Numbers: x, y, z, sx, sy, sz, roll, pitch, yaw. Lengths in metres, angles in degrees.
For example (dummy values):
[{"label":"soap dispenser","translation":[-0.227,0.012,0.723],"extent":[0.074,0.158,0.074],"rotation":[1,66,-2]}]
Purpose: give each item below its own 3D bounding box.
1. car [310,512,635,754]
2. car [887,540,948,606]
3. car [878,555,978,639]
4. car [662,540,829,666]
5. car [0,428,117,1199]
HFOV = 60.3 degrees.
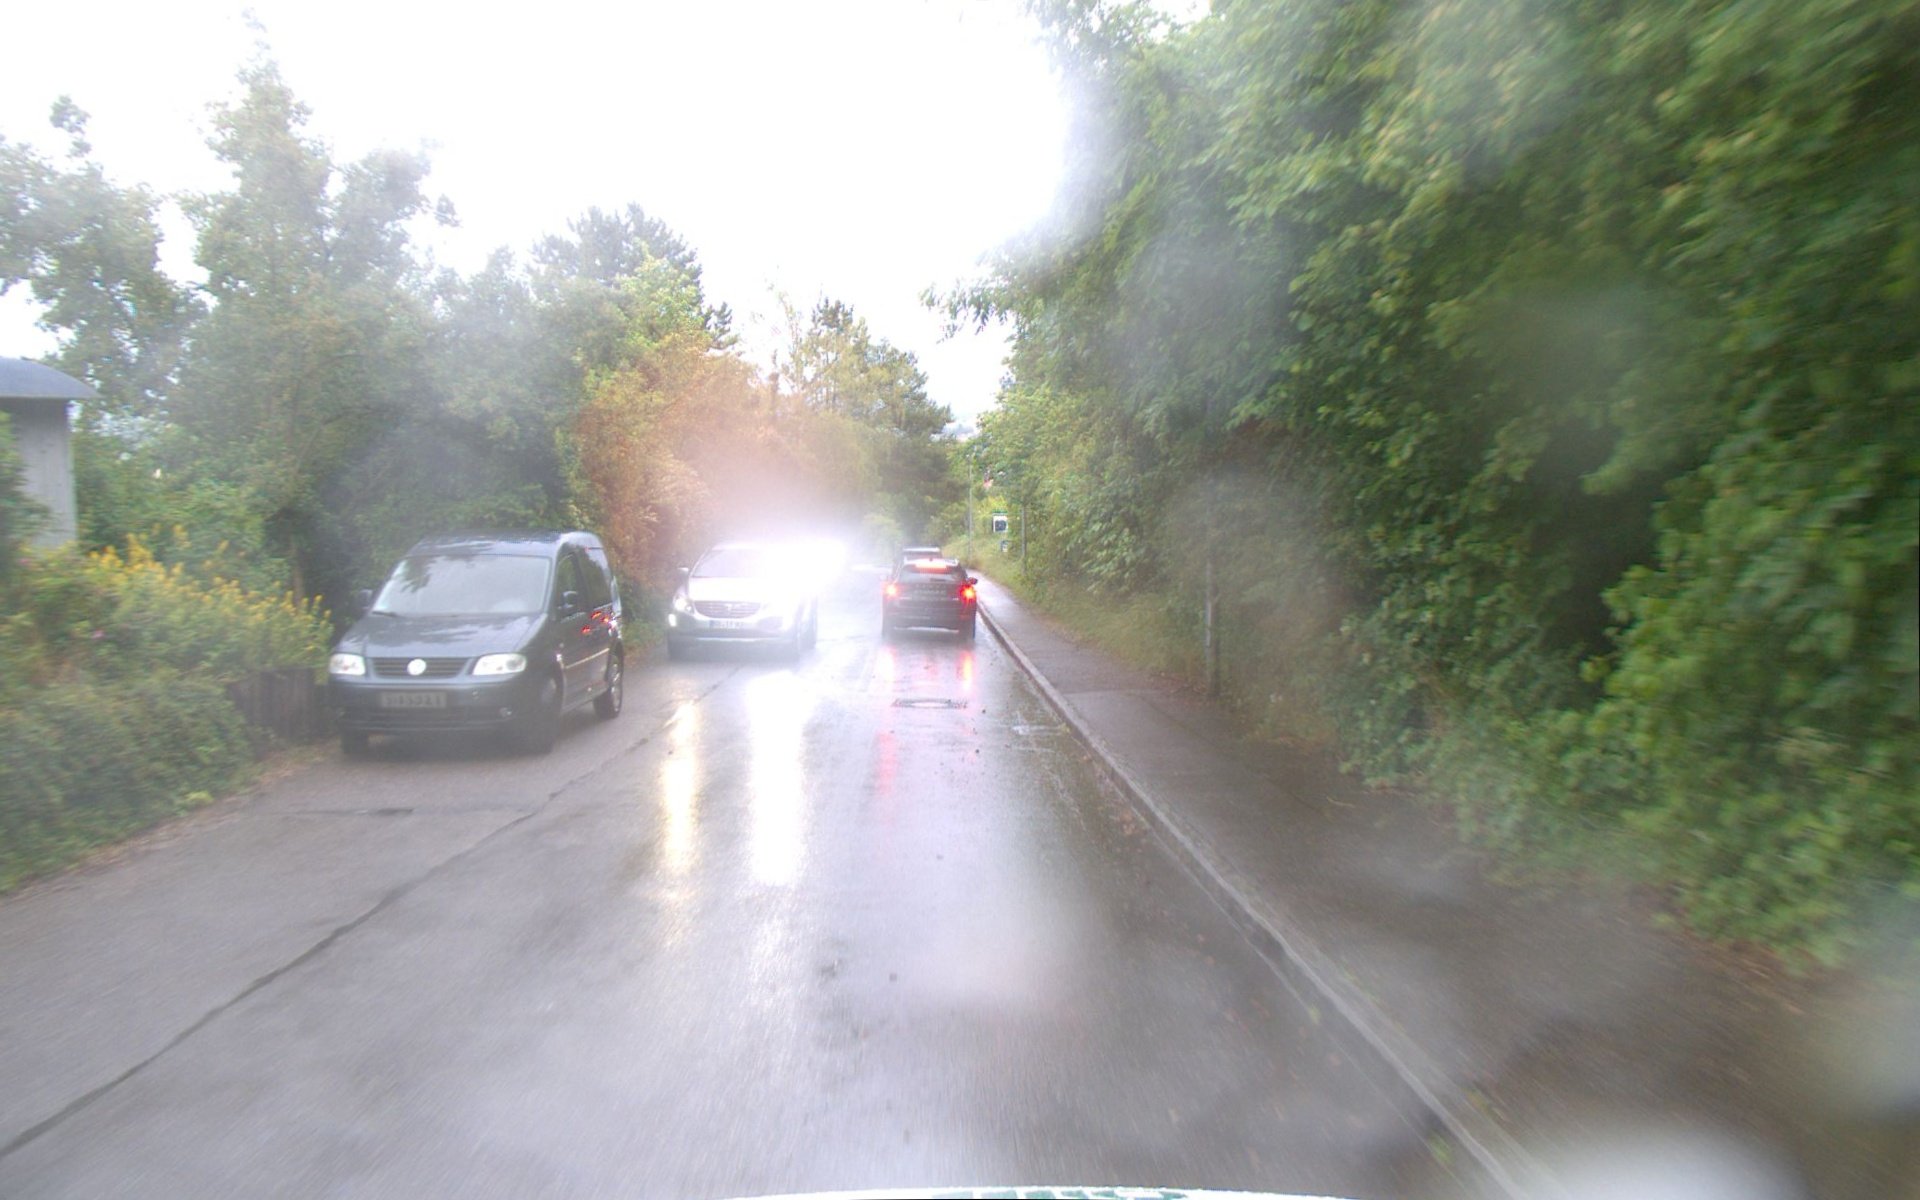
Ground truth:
[{"label":"car","translation":[-4.080,0.211,14.556],"extent":[1.655,1.814,4.232],"rotation":[0,1,-1]},{"label":"car","translation":[-1.392,-0.825,52.898],"extent":[1.825,1.774,3.997],"rotation":[2,-4,-2]},{"label":"car","translation":[-0.665,-0.081,31.401],"extent":[1.666,1.475,3.996],"rotation":[0,1,-5]},{"label":"car","translation":[-3.095,-0.026,24.680],"extent":[2.007,1.628,4.228],"rotation":[3,2,-2]},{"label":"car","translation":[-2.392,0.400,0.460],"extent":[1.901,1.549,4.578],"rotation":[0,-4,0]}]
